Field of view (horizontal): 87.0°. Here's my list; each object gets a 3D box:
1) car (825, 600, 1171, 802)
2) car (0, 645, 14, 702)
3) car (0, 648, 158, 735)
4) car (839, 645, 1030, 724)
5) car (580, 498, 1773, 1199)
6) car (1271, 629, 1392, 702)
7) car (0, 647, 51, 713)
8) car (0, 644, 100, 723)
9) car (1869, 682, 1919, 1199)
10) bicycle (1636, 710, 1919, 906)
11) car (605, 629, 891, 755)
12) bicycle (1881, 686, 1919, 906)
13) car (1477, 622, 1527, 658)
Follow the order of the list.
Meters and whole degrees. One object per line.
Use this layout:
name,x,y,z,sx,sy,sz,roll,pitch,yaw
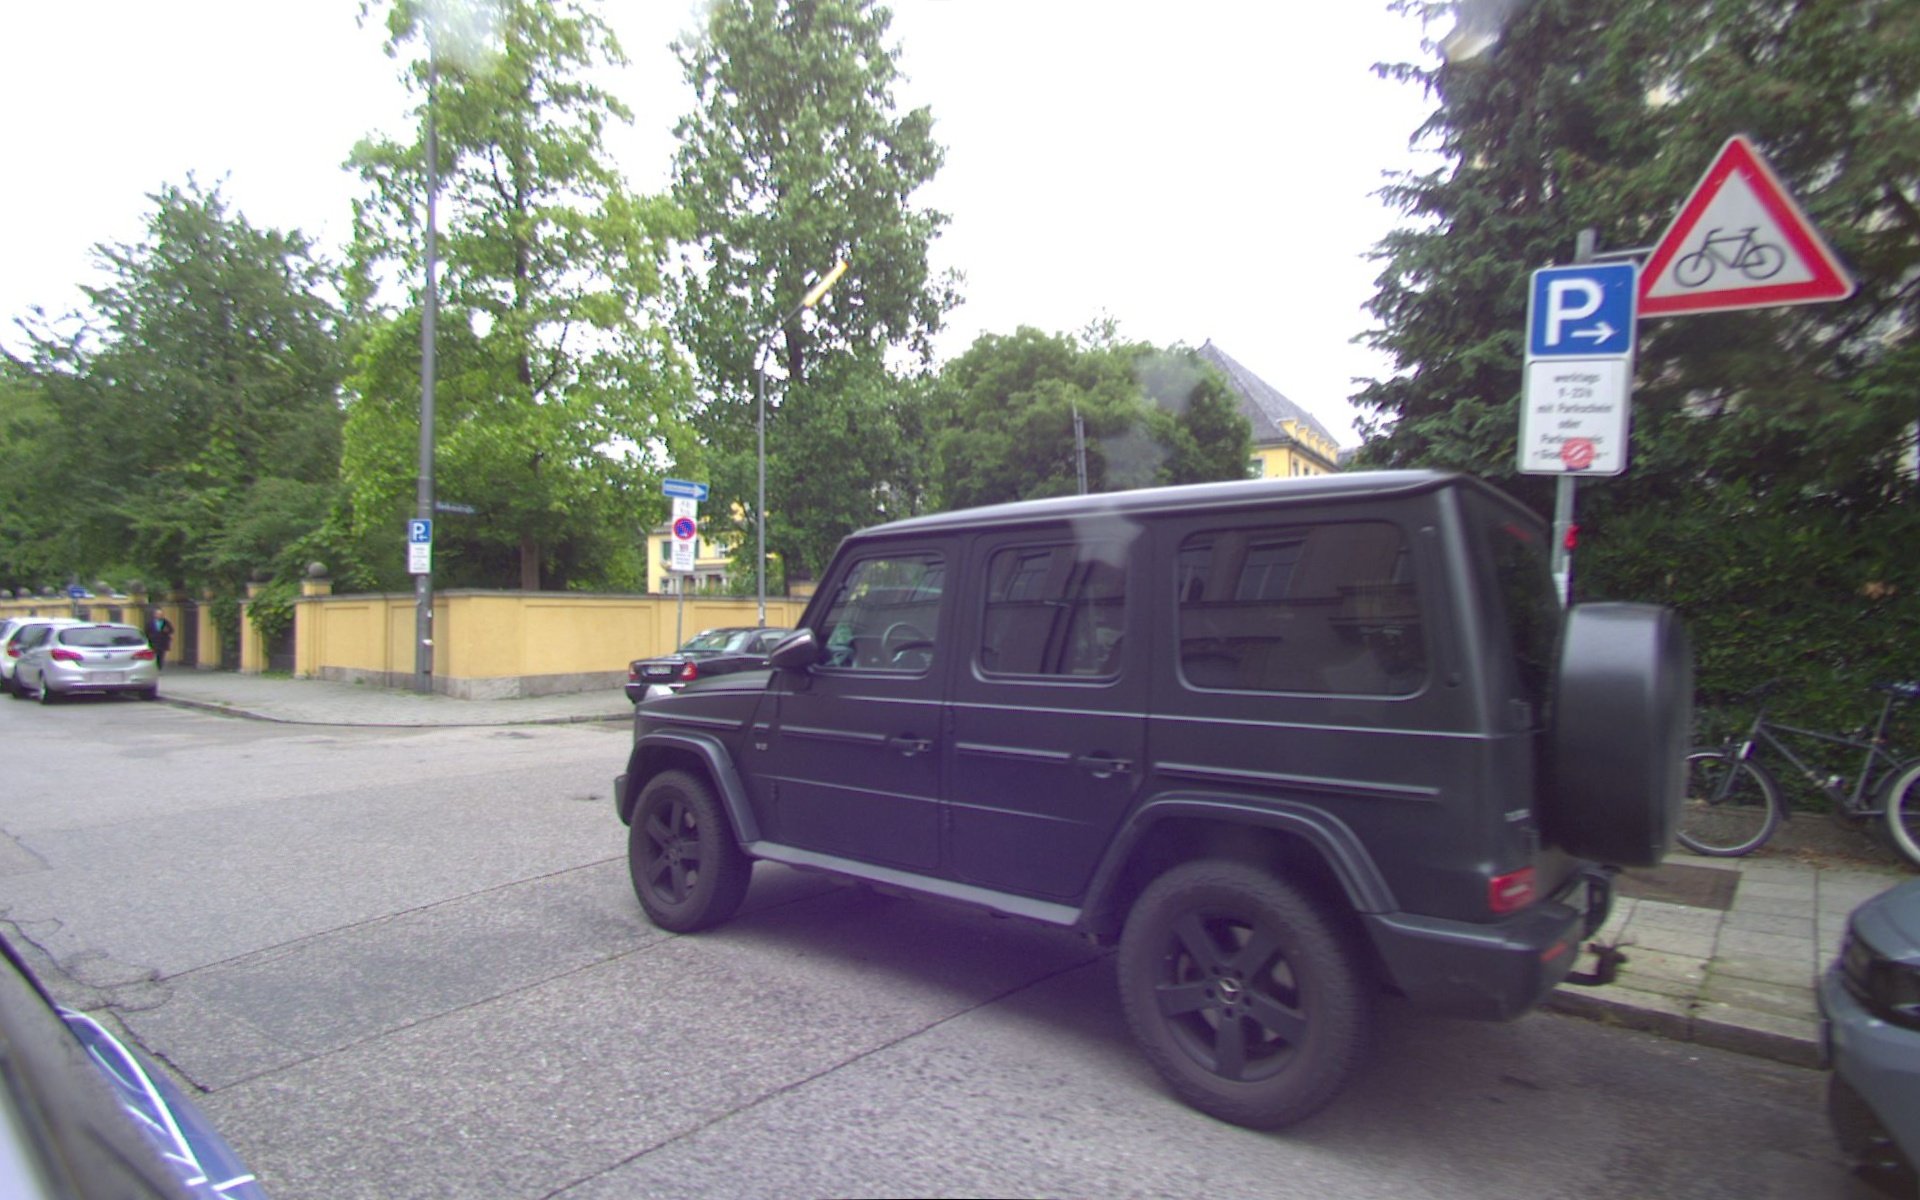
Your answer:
car,0.661,1.016,11.845,2.049,1.872,4.470,-2,-2,33
car,-28.777,2.090,29.165,3.926,1.573,1.633,-2,-4,39
car,-17.085,1.684,19.516,3.951,1.504,1.683,-2,-4,39
car,-0.422,1.654,20.863,1.849,1.395,4.191,-2,-2,35
car,0.461,0.806,4.468,4.813,1.901,1.892,-1,-3,40
car,9.269,1.538,25.054,1.929,1.607,4.193,0,-1,33
car,-24.690,1.996,25.781,3.926,1.573,1.633,-2,-4,39
car,-20.749,1.795,22.596,3.926,1.573,1.684,-2,-2,39
car,3.903,0.891,1.323,3.915,1.441,1.626,-2,-5,40
bicycle,4.816,1.129,5.676,1.635,0.959,0.446,-4,-3,39
car,-3.298,1.374,16.713,1.900,1.757,4.686,-2,-2,33
bicycle,5.734,1.002,4.923,1.786,1.105,0.484,-3,-2,39
car,29.939,2.208,55.861,2.048,1.872,4.471,-2,-3,32
